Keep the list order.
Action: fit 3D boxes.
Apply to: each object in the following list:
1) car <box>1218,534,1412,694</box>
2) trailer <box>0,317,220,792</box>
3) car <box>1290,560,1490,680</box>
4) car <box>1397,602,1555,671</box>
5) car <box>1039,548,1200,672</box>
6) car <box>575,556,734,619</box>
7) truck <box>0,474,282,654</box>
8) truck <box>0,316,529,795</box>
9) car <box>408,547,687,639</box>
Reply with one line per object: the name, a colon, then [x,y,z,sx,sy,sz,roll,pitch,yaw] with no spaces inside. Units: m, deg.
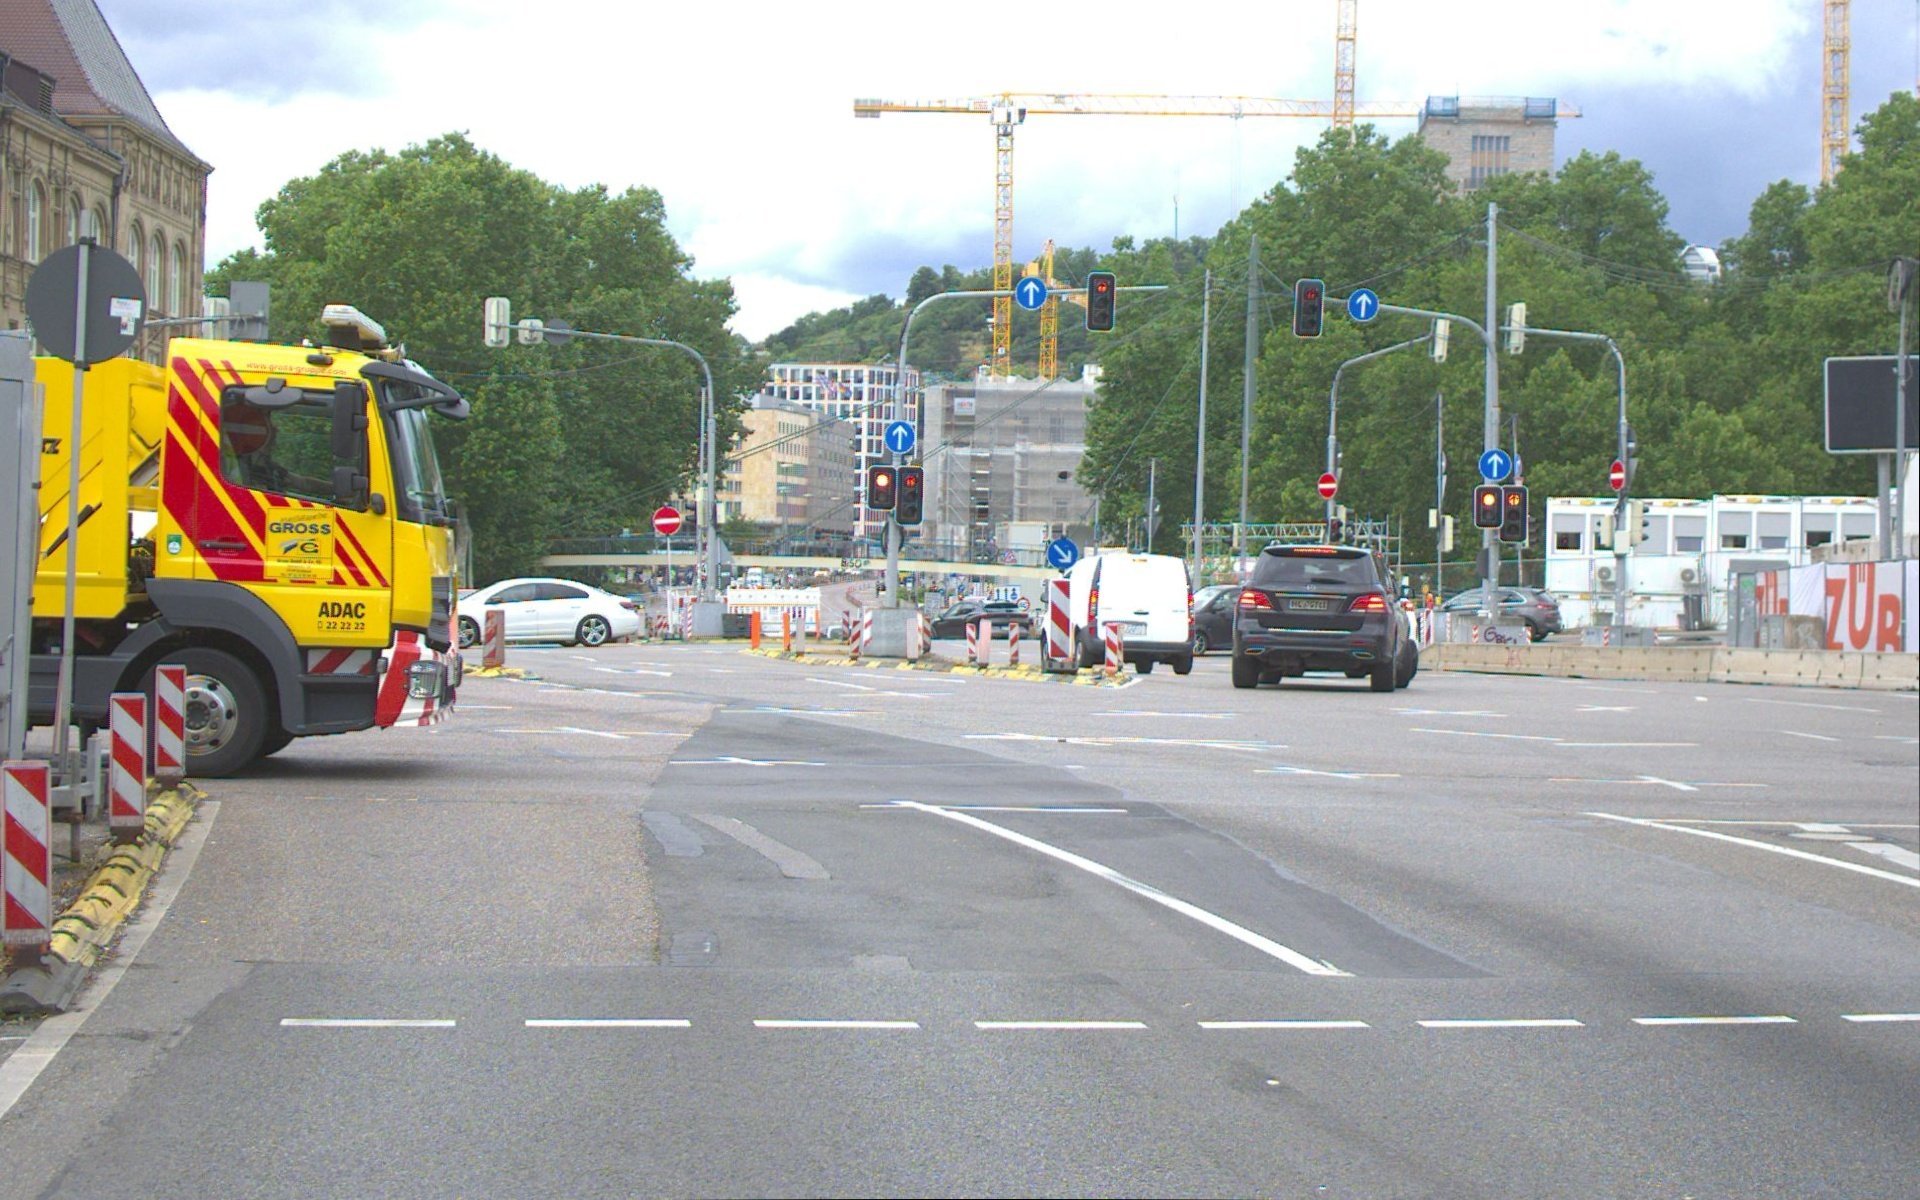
car: [4.407,0.141,42.145,1.994,1.828,4.255,1,1,11]
trailer: [-8.474,-0.318,20.979,7.348,2.716,2.863,1,0,-3]
car: [6.610,0.276,53.370,1.993,1.753,4.506,1,1,-7]
car: [13.540,0.944,90.119,3.989,1.722,1.999,1,1,12]
car: [2.448,0.122,53.814,1.863,1.827,4.723,1,1,-5]
car: [-8.304,-0.344,93.670,3.988,1.656,2.000,1,1,6]
truck: [-15.806,-0.643,62.140,6.580,3.135,2.368,1,1,-23]
truck: [-4.907,-0.277,21.141,4.204,2.716,2.863,1,0,-2]
car: [-8.330,-0.150,69.358,5.168,1.779,2.165,1,1,-23]
